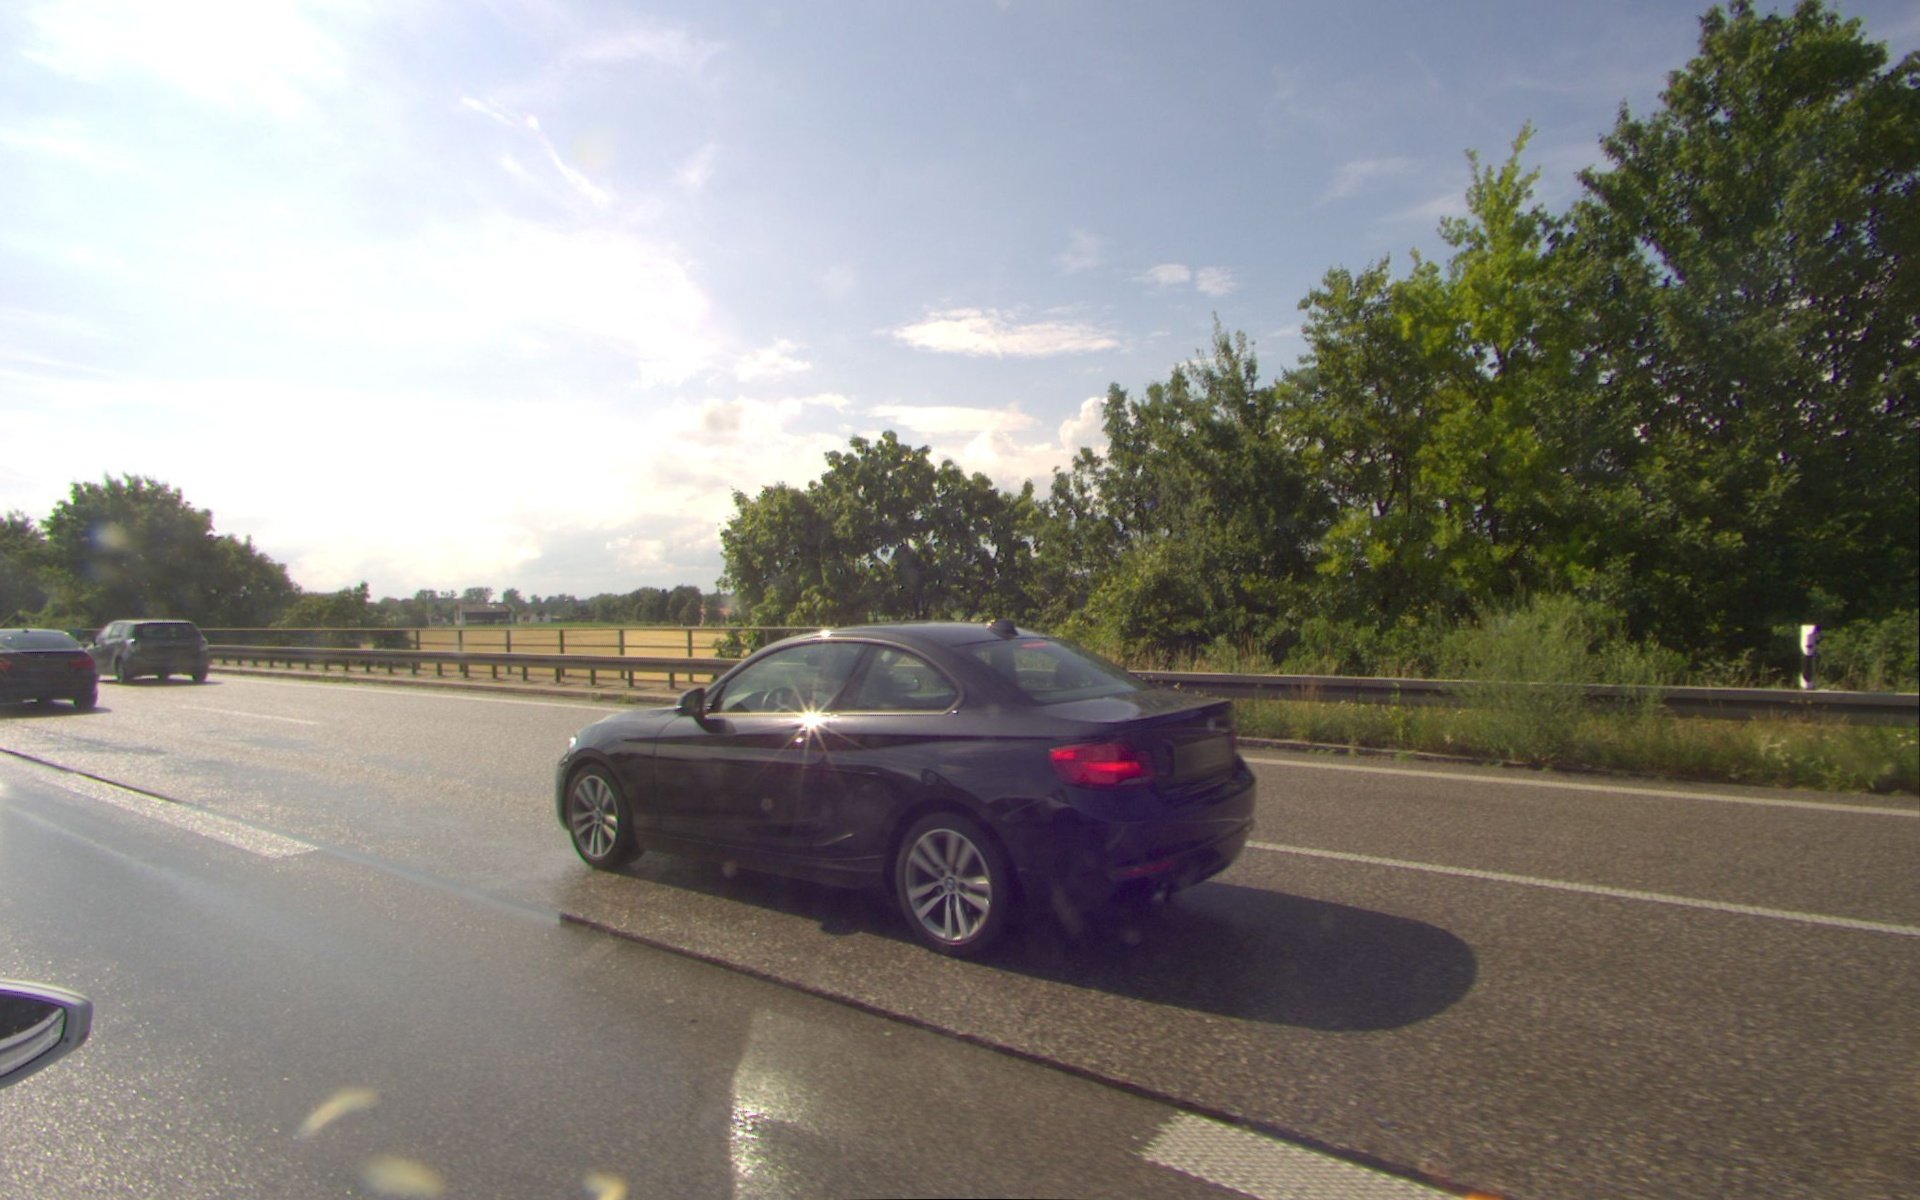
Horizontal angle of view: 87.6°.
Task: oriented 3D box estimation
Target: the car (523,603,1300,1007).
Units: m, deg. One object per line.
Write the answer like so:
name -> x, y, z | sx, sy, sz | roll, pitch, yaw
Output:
car -> -0.469, 0.796, 5.689 | 4.200, 1.483, 1.842 | -1, 0, 37

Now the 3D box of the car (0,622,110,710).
car -> -17.008, 1.117, 18.050 | 3.785, 1.439, 1.735 | -1, -1, 36

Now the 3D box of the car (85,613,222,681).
car -> -21.301, 1.184, 26.390 | 4.328, 1.634, 1.782 | -1, -1, 37
